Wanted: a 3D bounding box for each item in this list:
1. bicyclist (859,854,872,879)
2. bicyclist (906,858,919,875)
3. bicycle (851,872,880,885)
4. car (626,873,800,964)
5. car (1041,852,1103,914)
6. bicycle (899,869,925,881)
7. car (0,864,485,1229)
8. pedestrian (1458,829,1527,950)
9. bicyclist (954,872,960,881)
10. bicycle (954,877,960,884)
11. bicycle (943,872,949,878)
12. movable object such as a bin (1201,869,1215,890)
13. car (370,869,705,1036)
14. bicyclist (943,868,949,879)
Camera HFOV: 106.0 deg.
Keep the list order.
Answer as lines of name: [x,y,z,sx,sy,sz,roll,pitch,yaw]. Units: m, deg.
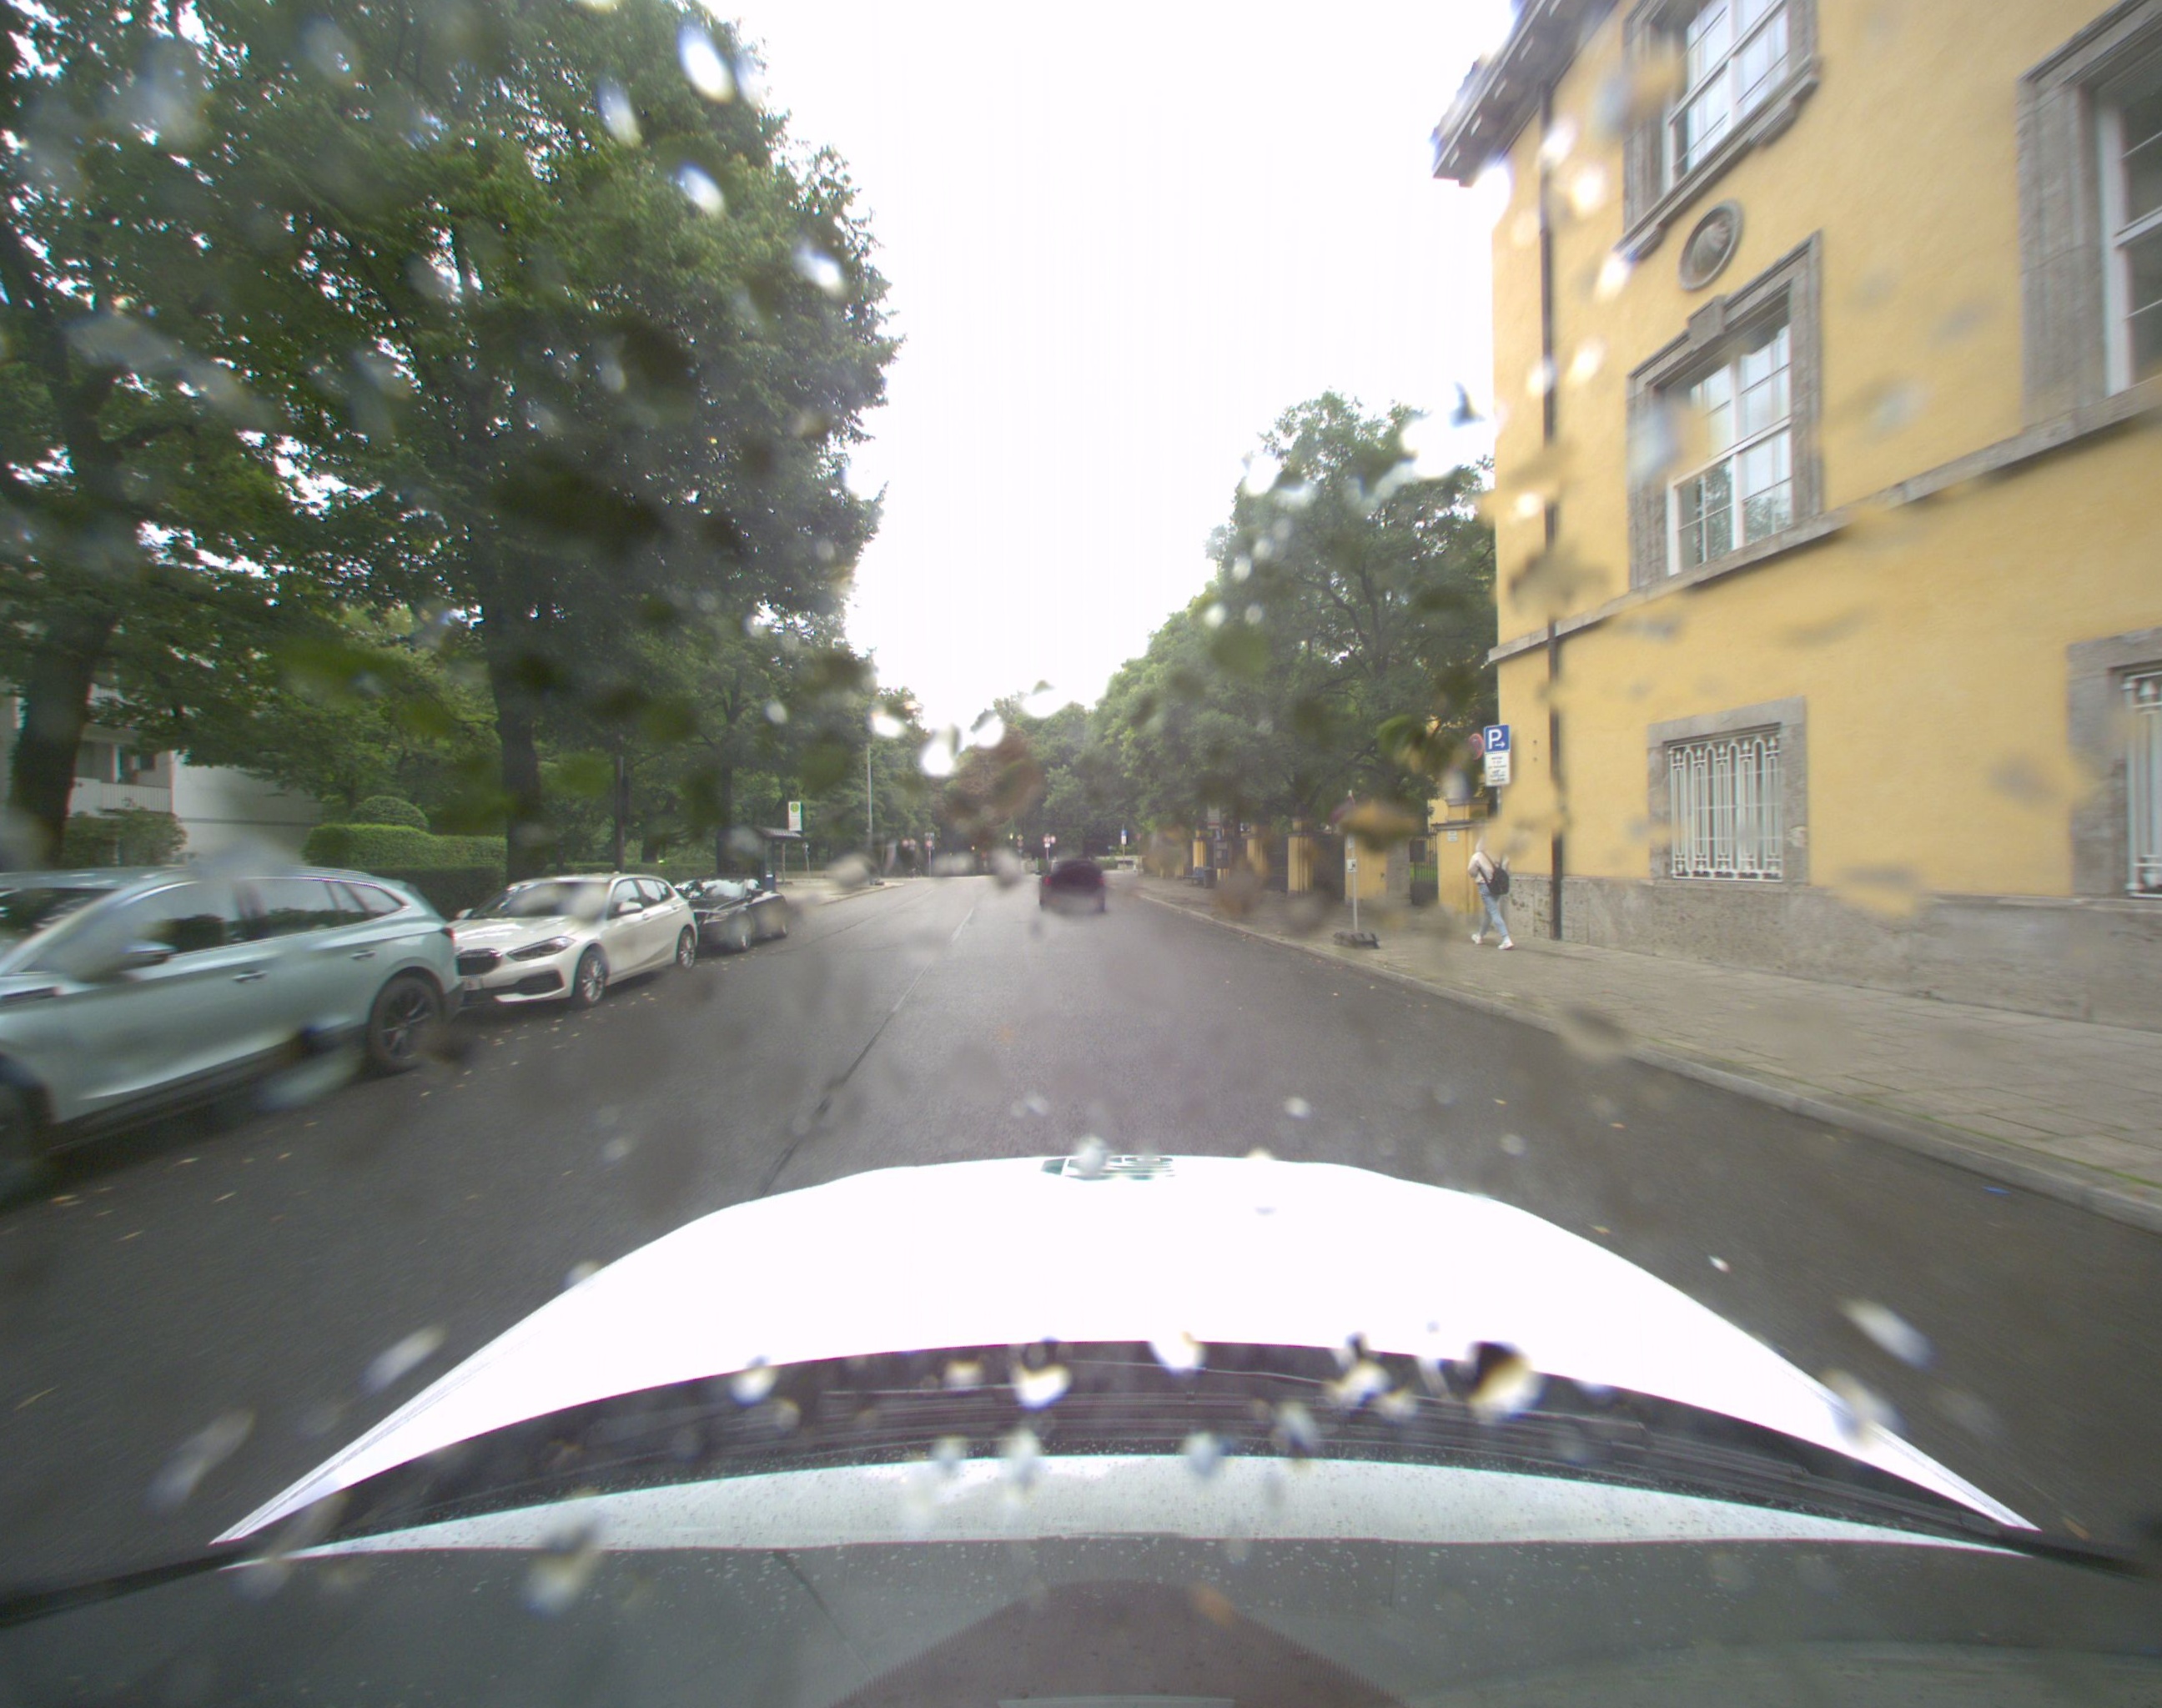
bicyclist: [-13.923,0.834,52.719,0.751,1.585,0.653,-1,-1,-12]
bicyclist: [-12.968,0.935,62.593,0.674,1.282,0.603,-2,0,31]
bicycle: [-13.947,1.568,52.685,1.765,0.797,0.568,-1,-1,-13]
car: [-6.610,1.082,15.115,1.574,1.343,4.038,-2,0,-4]
car: [-0.335,0.774,23.267,1.574,1.584,4.039,-2,0,-3]
bicycle: [-12.972,1.617,62.534,0.673,0.830,2.123,-2,-1,30]
car: [-5.817,0.889,4.671,1.813,1.601,4.503,-2,0,-6]
pedestrian: [5.807,0.484,11.515,0.559,1.637,0.570,-3,0,-7]
bicyclist: [-15.441,2.801,101.128,0.681,1.187,0.479,-2,0,-12]
bicycle: [-15.417,3.232,101.100,0.680,0.830,2.101,-1,-1,-12]
bicycle: [-18.831,2.883,113.576,0.681,0.830,2.099,-1,-1,-15]
movable object such as a bin: [4.848,0.960,31.107,0.396,0.780,0.464,-2,0,-3]
car: [-6.154,0.972,9.888,1.575,1.497,4.190,-2,0,-6]
bicyclist: [-18.847,2.745,113.651,0.682,1.504,0.896,-2,0,-15]
